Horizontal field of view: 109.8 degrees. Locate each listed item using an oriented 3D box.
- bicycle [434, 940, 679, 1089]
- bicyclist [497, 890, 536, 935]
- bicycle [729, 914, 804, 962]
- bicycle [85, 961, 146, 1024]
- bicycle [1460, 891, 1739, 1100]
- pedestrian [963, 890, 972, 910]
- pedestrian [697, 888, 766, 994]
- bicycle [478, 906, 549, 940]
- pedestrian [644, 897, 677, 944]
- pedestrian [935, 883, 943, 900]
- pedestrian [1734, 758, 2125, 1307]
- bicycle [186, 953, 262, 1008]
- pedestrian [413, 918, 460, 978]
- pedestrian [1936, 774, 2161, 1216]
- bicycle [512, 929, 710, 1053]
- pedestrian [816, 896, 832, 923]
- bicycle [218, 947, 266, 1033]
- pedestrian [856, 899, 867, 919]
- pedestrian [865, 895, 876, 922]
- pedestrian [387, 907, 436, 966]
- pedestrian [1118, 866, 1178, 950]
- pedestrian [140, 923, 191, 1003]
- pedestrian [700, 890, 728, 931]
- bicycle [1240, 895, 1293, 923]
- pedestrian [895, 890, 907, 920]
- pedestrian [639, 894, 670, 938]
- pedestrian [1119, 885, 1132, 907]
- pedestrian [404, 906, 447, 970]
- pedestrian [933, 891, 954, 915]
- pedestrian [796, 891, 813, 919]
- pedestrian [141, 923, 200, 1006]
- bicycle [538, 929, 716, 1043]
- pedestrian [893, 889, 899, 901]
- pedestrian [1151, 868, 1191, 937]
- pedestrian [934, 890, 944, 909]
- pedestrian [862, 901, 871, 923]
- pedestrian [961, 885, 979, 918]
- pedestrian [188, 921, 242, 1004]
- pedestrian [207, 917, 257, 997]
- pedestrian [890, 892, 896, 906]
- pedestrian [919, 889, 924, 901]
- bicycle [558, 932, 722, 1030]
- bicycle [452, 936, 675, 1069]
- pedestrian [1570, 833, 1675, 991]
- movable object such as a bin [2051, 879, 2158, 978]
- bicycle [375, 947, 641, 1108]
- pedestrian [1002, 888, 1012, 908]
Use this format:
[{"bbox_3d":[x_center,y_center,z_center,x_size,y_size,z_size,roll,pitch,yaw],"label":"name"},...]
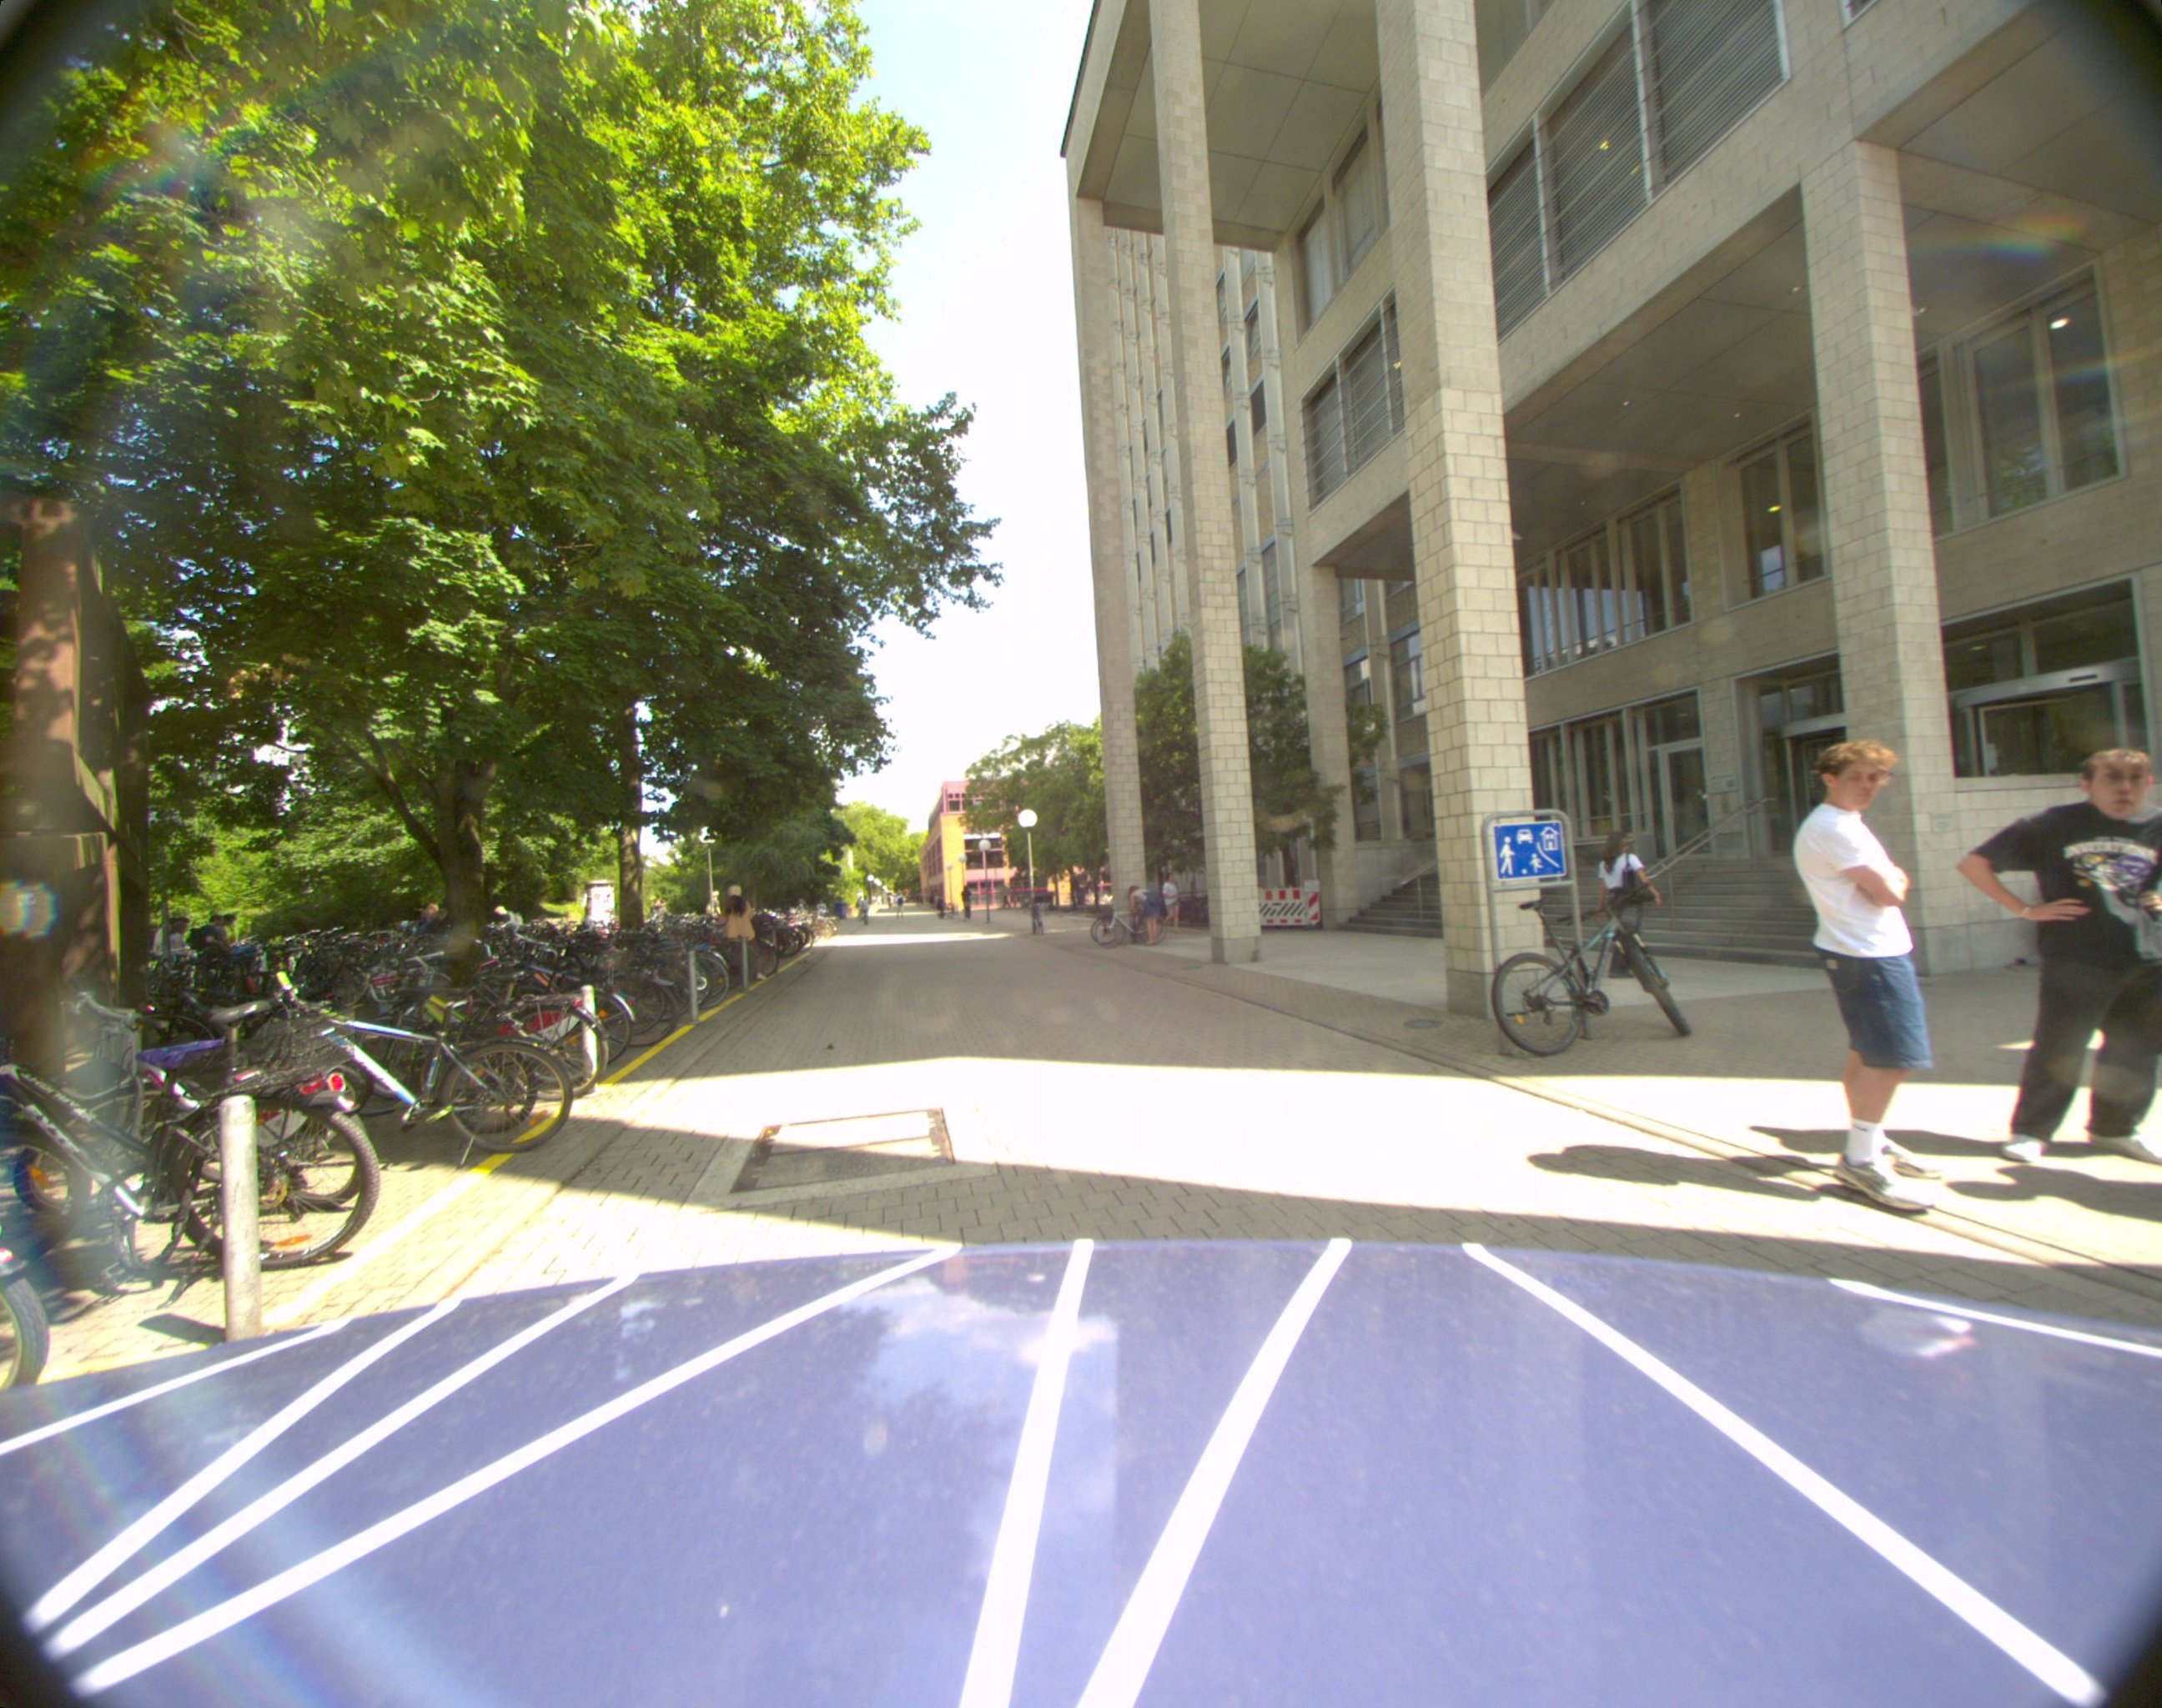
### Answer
[{"bbox_3d":[-4.623,1.393,6.790,1.696,1.118,0.565,-2,0,-9],"label":"bicycle"},{"bbox_3d":[-18.898,1.964,25.435,0.743,1.437,0.805,-4,-1,33],"label":"bicyclist"},{"bbox_3d":[-7.918,2.107,19.192,1.689,1.076,0.478,-2,-4,-18],"label":"bicycle"},{"bbox_3d":[-17.509,2.480,13.773,1.899,0.973,0.479,-4,0,33],"label":"bicycle"},{"bbox_3d":[3.772,0.961,5.533,1.830,1.234,0.531,-4,-1,-15],"label":"bicycle"},{"bbox_3d":[-9.329,3.777,62.460,0.692,1.503,0.514,-2,1,-15],"label":"pedestrian"},{"bbox_3d":[-5.859,1.440,12.756,0.945,1.692,0.427,-3,-3,-18],"label":"pedestrian"},{"bbox_3d":[-18.920,2.296,25.377,0.585,0.926,1.756,-1,1,33],"label":"bicycle"},{"bbox_3d":[-14.646,2.298,26.489,0.744,1.560,0.721,-3,-1,-6],"label":"pedestrian"},{"bbox_3d":[-15.471,4.077,82.635,0.744,1.753,0.973,-2,1,-15],"label":"pedestrian"},{"bbox_3d":[3.359,0.618,3.067,0.686,1.879,0.686,-4,-2,-17],"label":"pedestrian"},{"bbox_3d":[-16.694,2.441,14.794,1.899,0.973,0.479,-4,0,27],"label":"bicycle"},{"bbox_3d":[-17.545,2.548,20.690,0.743,1.560,0.722,-3,-1,28],"label":"pedestrian"},{"bbox_3d":[4.526,0.569,3.324,0.808,1.786,0.621,-5,-1,33],"label":"pedestrian"},{"bbox_3d":[-5.055,1.452,8.278,1.697,1.144,0.627,-2,0,-12],"label":"bicycle"},{"bbox_3d":[-15.000,3.248,44.314,0.689,1.503,0.516,-1,2,33],"label":"pedestrian"},{"bbox_3d":[-13.152,2.084,11.898,1.840,1.163,0.437,-4,-1,41],"label":"bicycle"},{"bbox_3d":[-16.726,4.194,57.870,0.692,1.503,0.514,-2,1,-15],"label":"pedestrian"},{"bbox_3d":[-12.123,3.142,43.745,0.515,1.503,0.690,-2,1,-12],"label":"pedestrian"},{"bbox_3d":[-18.504,2.279,20.997,0.743,1.560,0.722,-3,-1,23],"label":"pedestrian"},{"bbox_3d":[1.439,1.159,16.411,0.750,1.729,0.936,-3,-2,-33],"label":"pedestrian"},{"bbox_3d":[-21.365,2.522,17.735,0.743,1.764,0.722,-4,-1,38],"label":"pedestrian"},{"bbox_3d":[-14.529,2.245,30.113,0.744,1.560,0.721,-3,-1,-6],"label":"pedestrian"},{"bbox_3d":[5.618,1.655,23.174,0.644,0.755,1.987,-2,-1,-16],"label":"bicycle"},{"bbox_3d":[-11.022,3.117,46.441,0.565,1.753,0.803,-3,1,-18],"label":"pedestrian"},{"bbox_3d":[-16.002,2.325,28.520,0.744,1.560,0.721,-3,-1,-6],"label":"pedestrian"},{"bbox_3d":[3.799,3.558,64.495,0.973,1.753,0.744,-2,1,12],"label":"pedestrian"},{"bbox_3d":[-19.228,2.441,22.278,0.743,1.778,0.722,-3,-1,32],"label":"pedestrian"},{"bbox_3d":[-9.130,3.241,50.444,0.727,1.503,1.208,-1,1,29],"label":"pedestrian"},{"bbox_3d":[-15.207,2.806,41.763,0.689,1.503,0.516,-1,2,33],"label":"pedestrian"},{"bbox_3d":[-20.618,2.476,17.210,0.743,1.764,0.722,-3,-1,31],"label":"pedestrian"},{"bbox_3d":[-5.265,1.500,8.926,1.698,1.143,0.627,-2,-4,-22],"label":"bicycle"},{"bbox_3d":[-26.880,5.931,110.415,0.565,1.753,0.803,-2,1,-8],"label":"pedestrian"},{"bbox_3d":[2.379,1.267,20.140,0.749,1.729,0.937,-4,-2,-5],"label":"pedestrian"},{"bbox_3d":[-13.943,4.441,74.588,0.744,1.753,0.973,-2,1,-15],"label":"pedestrian"},{"bbox_3d":[-15.505,4.192,54.976,0.515,1.503,0.690,-2,1,-12],"label":"pedestrian"},{"bbox_3d":[-6.169,2.643,42.153,0.743,1.753,0.975,-2,1,4],"label":"pedestrian"},{"bbox_3d":[-19.616,2.433,17.215,0.655,1.764,0.722,-4,-1,36],"label":"pedestrian"},{"bbox_3d":[-19.994,2.399,17.899,0.743,1.764,0.722,-4,-1,39],"label":"pedestrian"},{"bbox_3d":[-24.945,6.007,100.689,0.668,1.753,0.803,-2,1,-16],"label":"pedestrian"},{"bbox_3d":[-23.091,5.928,109.857,0.565,1.753,0.803,-2,1,-8],"label":"pedestrian"},{"bbox_3d":[-5.486,1.560,9.551,1.698,1.040,0.568,-2,-4,-21],"label":"bicycle"},{"bbox_3d":[-5.071,1.437,7.542,1.696,1.118,0.627,-2,0,-9],"label":"bicycle"},{"bbox_3d":[6.279,0.653,8.821,0.686,1.723,0.688,-3,-2,-34],"label":"pedestrian"},{"bbox_3d":[10.627,0.753,7.898,0.512,0.944,0.512,-2,1,-16],"label":"movable object such as a bin"},{"bbox_3d":[-4.660,1.392,6.261,1.696,1.118,0.482,-2,0,-9],"label":"bicycle"},{"bbox_3d":[-6.074,3.601,62.300,0.692,1.503,0.514,-2,1,-15],"label":"pedestrian"}]
